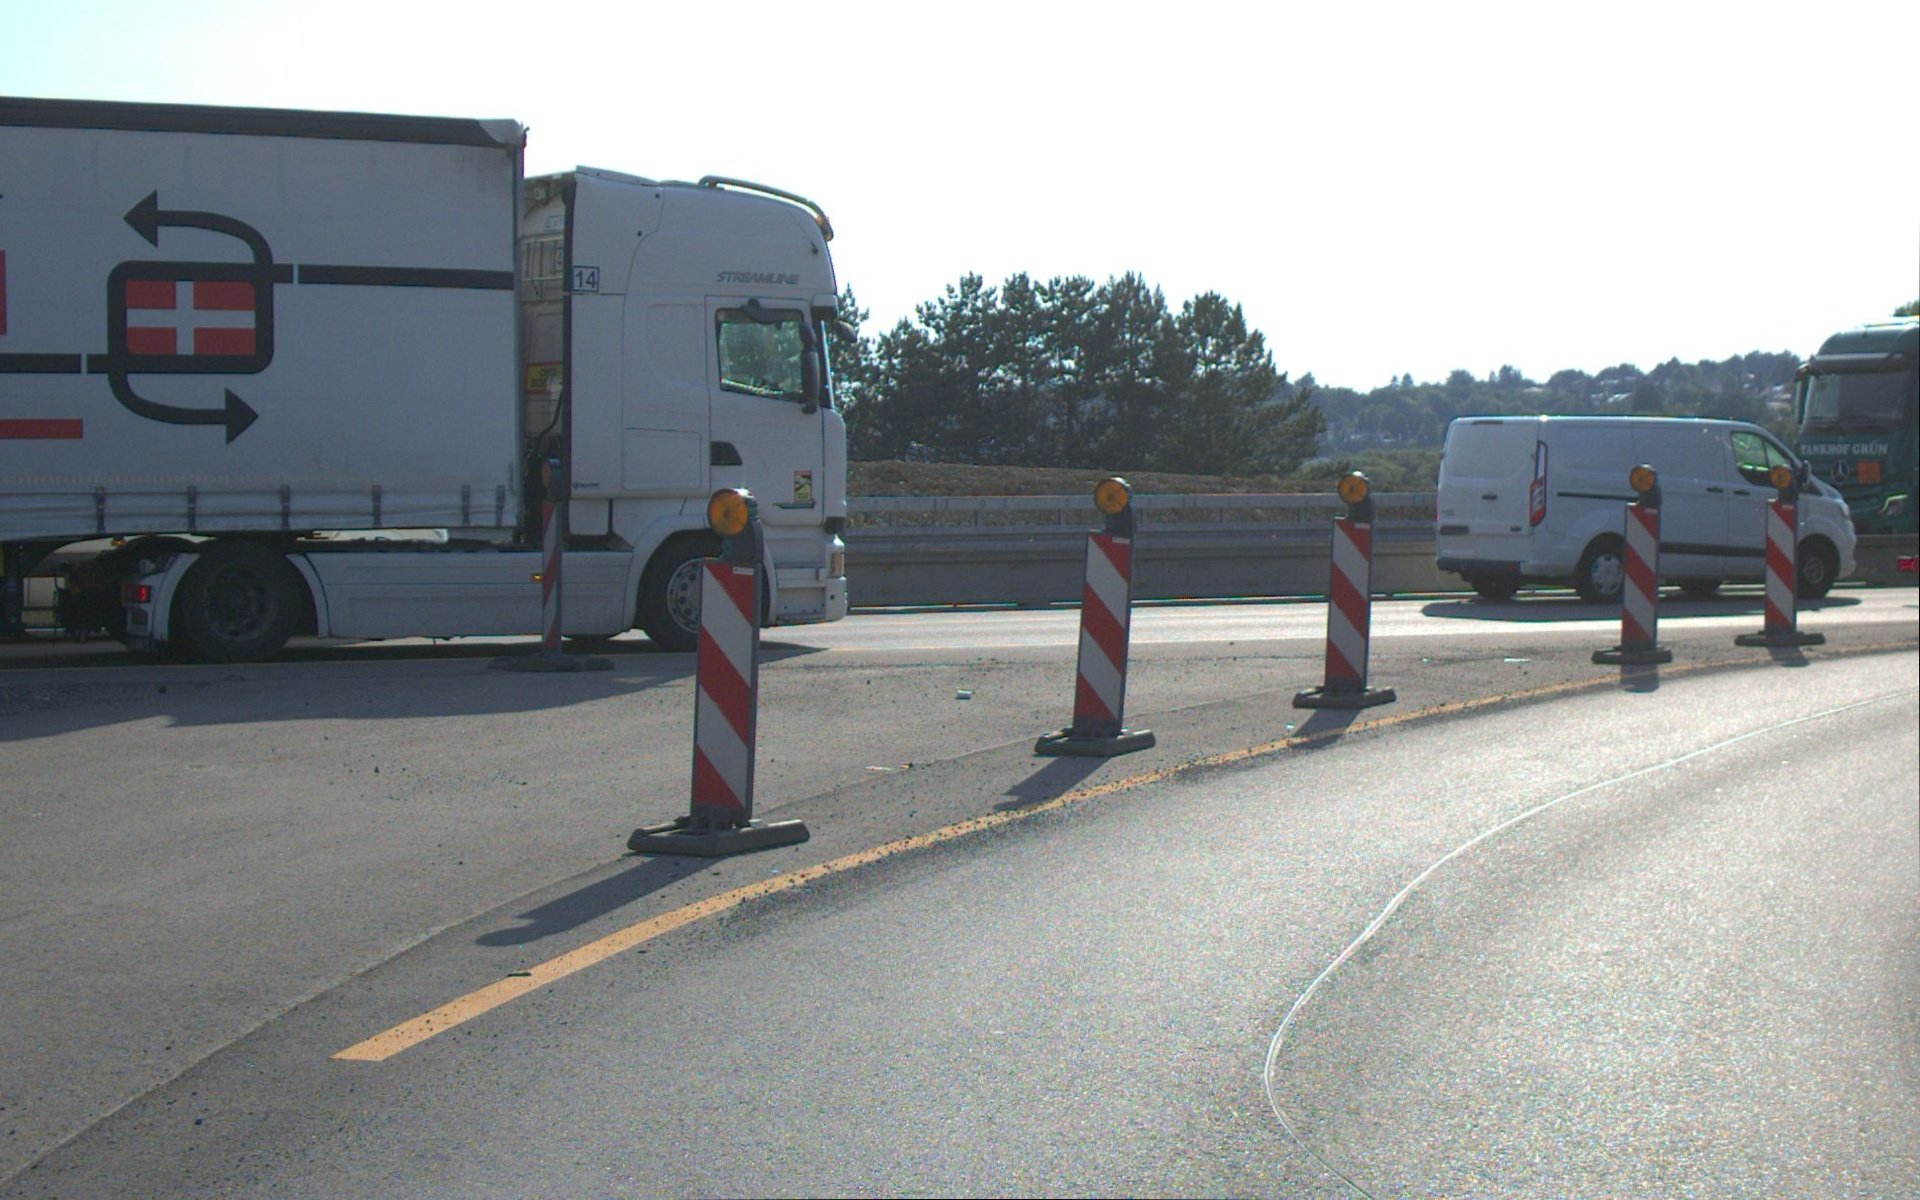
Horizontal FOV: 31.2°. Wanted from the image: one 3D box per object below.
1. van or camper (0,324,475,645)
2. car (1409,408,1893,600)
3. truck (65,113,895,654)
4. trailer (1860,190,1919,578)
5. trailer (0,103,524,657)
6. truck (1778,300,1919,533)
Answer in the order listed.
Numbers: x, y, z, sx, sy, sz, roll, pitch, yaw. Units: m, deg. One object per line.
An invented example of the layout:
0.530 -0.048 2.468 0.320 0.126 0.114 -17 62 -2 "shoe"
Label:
-7.279 -0.972 29.341 5.884 2.611 2.000 0 2 -29 "van or camper"
7.523 -1.069 37.357 4.962 1.974 2.036 -1 3 -28 "car"
-3.747 -1.589 27.150 5.991 3.865 2.489 0 1 -30 "truck"
16.981 -2.263 38.603 15.693 3.983 2.867 0 1 -29 "trailer"
-9.817 -1.543 23.686 13.585 3.865 2.489 0 1 -30 "trailer"
14.632 -2.537 48.892 5.668 3.123 2.148 0 0 -24 "truck"
